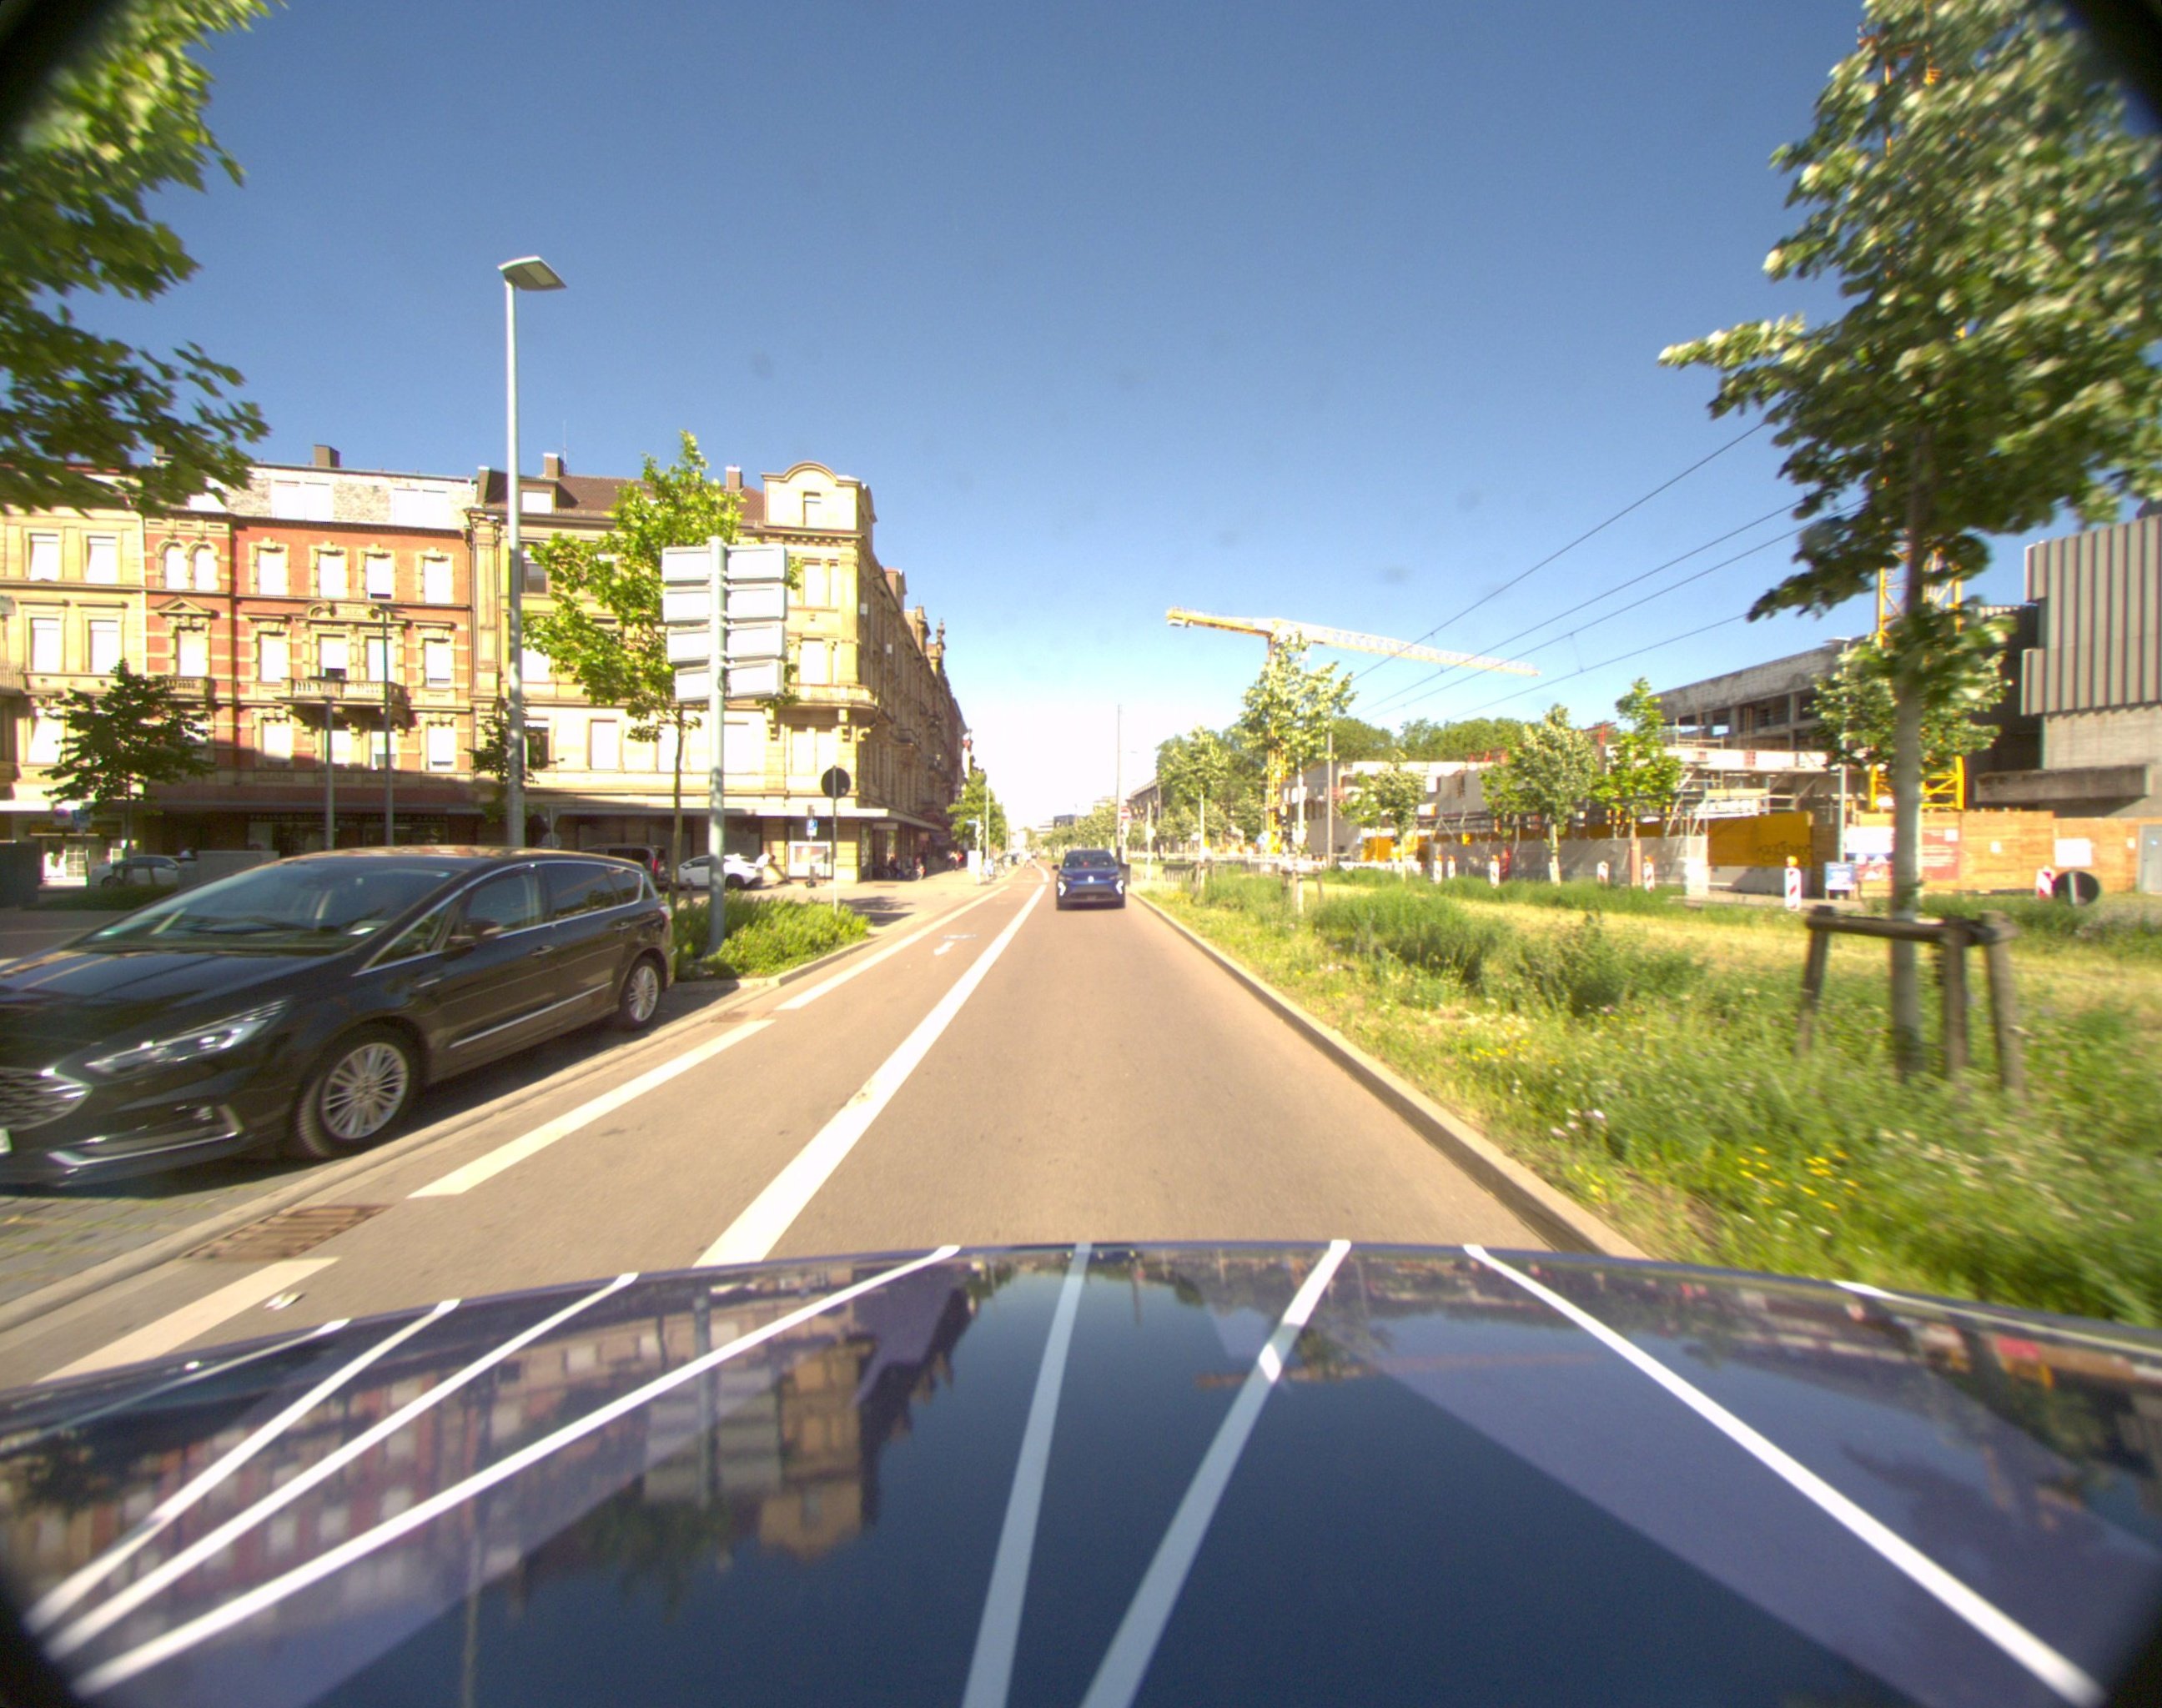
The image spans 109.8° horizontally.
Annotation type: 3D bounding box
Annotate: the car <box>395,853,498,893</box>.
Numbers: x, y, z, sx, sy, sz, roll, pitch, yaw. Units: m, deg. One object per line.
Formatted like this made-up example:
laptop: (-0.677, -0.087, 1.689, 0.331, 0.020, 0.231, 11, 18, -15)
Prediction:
car: (-24.865, 0.721, 29.833, 2.792, 1.486, 1.304, 0, 1, -11)

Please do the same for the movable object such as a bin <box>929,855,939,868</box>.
movable object such as a bin: (-11.930, 0.597, 61.637, 0.692, 1.007, 0.587, 2, 2, 1)

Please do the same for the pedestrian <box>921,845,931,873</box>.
pedestrian: (-9.862, 0.302, 48.410, 0.512, 1.791, 0.501, 0, 1, 5)

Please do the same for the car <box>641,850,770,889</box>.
car: (-15.390, 0.599, 31.368, 4.409, 1.535, 1.851, 0, 1, -11)

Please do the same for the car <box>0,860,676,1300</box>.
car: (-4.809, 0.905, 5.184, 1.752, 1.649, 4.469, 0, 1, -1)

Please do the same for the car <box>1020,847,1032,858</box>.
car: (-7.971, -0.280, 110.547, 1.670, 1.453, 3.747, -2, 1, -3)

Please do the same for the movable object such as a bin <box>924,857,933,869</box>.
movable object such as a bin: (-11.851, 0.690, 58.987, 0.606, 0.861, 0.476, 2, 2, 1)

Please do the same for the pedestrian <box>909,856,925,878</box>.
pedestrian: (-9.009, 0.706, 41.799, 0.718, 1.211, 0.647, 2, 1, 2)

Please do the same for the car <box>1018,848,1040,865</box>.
car: (-5.998, 0.226, 87.727, 1.821, 1.783, 4.001, -2, 1, 6)

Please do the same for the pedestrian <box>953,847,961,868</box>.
pedestrian: (-10.921, 0.264, 66.945, 0.512, 1.839, 0.501, 0, 1, 5)

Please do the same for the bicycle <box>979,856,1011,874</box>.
bicycle: (-5.843, 0.738, 51.603, 2.055, 1.114, 0.602, 2, 1, -4)

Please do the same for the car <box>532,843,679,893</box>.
car: (-17.393, 0.479, 27.993, 4.168, 1.742, 1.815, 0, 1, -11)

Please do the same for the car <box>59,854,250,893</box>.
car: (-34.330, 0.690, 28.286, 4.441, 1.346, 1.649, 0, 1, -12)

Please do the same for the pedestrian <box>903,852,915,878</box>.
pedestrian: (-9.664, 0.612, 42.708, 0.574, 1.386, 0.648, 2, 1, -5)

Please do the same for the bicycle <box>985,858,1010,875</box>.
bicycle: (-5.808, 0.871, 52.979, 1.668, 1.104, 0.602, 2, 1, -11)

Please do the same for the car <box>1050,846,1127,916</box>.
car: (0.291, 0.620, 19.758, 1.748, 1.613, 4.153, -1, 0, 4)

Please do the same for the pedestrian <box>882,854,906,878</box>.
pedestrian: (-9.997, 0.649, 40.594, 1.075, 1.211, 0.702, 2, 1, -4)

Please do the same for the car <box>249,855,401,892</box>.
car: (-28.746, 0.708, 29.013, 3.825, 1.346, 1.649, 0, 1, -12)

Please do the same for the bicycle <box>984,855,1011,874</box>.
bicycle: (-5.977, 0.748, 54.524, 1.870, 1.244, 0.691, 2, 1, -4)

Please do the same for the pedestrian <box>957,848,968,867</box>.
pedestrian: (-9.829, 0.276, 63.090, 0.753, 1.575, 0.808, 2, 1, -3)

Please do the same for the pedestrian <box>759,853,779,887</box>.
pedestrian: (-13.515, 0.681, 32.895, 0.683, 1.442, 0.543, 0, 1, -8)
